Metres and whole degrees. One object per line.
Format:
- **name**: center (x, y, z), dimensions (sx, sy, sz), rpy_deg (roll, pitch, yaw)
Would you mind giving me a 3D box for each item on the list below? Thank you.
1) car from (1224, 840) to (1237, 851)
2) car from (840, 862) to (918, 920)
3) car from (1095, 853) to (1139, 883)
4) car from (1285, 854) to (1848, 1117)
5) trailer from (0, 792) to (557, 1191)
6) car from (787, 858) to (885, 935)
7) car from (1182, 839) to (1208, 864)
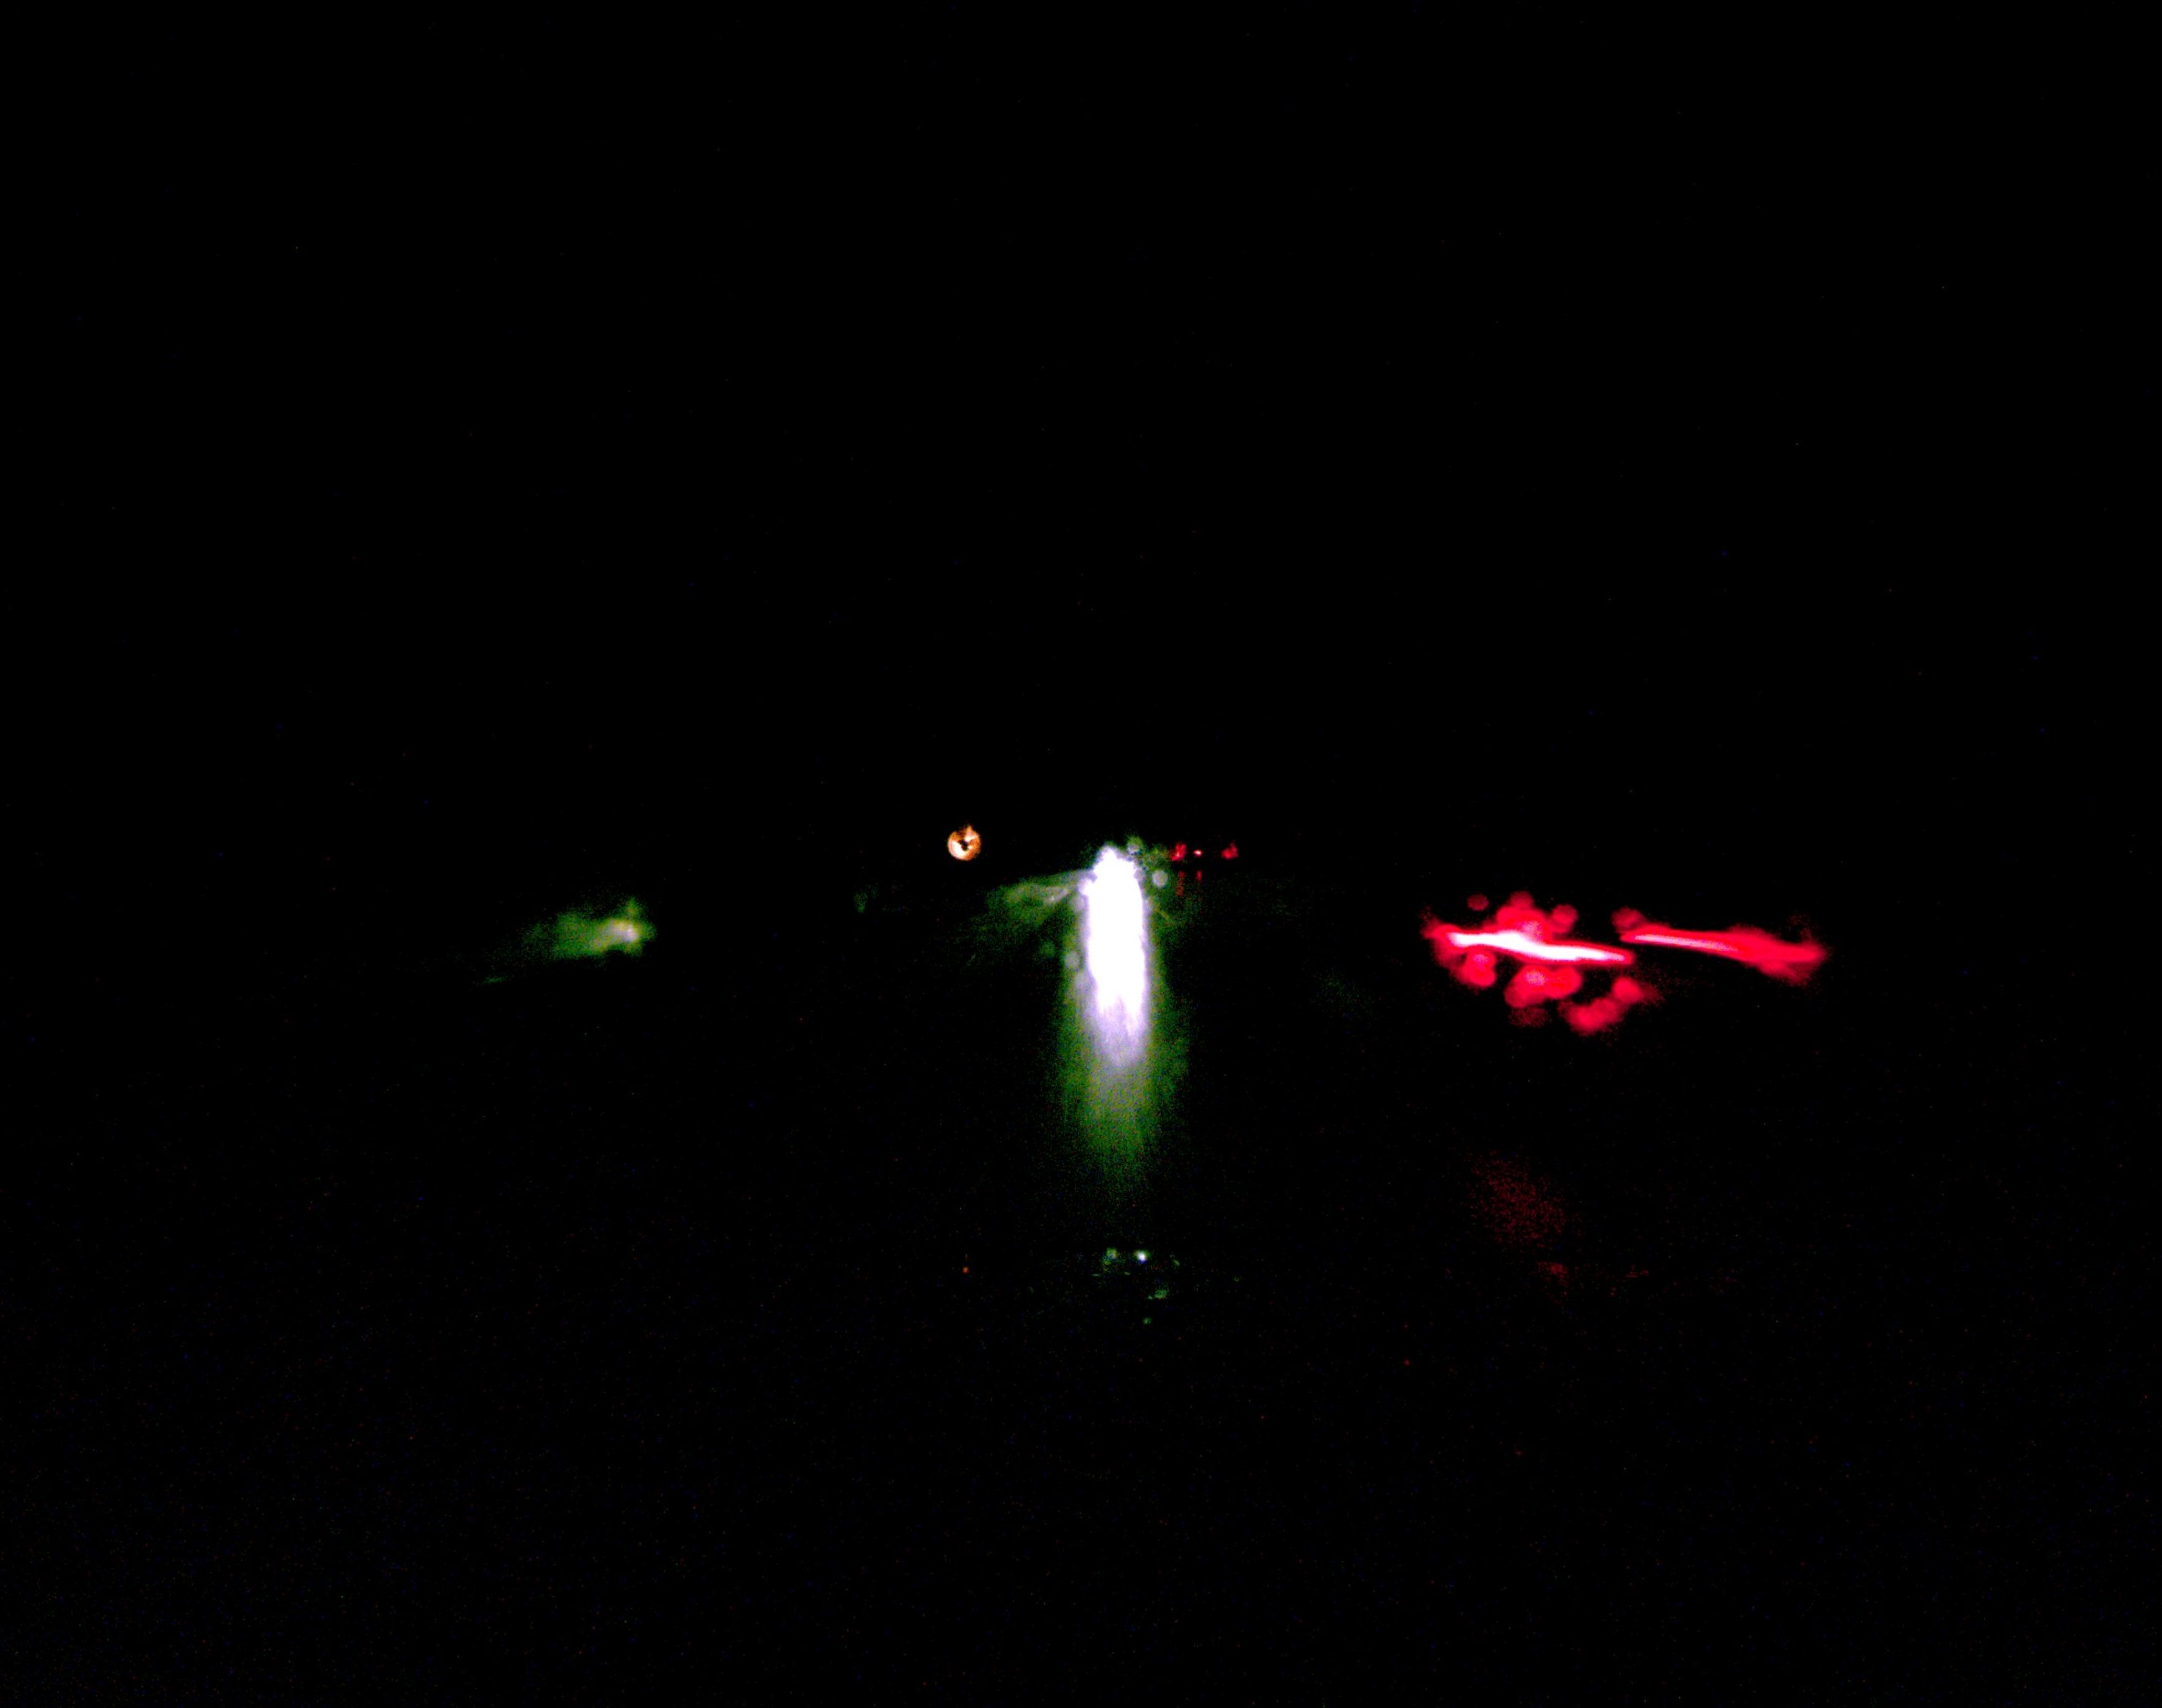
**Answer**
- **car**: center (26.165, -1.489, 133.178), dimensions (1.980, 1.768, 4.003), rpy_deg (-4, 1, 12)
- **car**: center (-7.437, 1.297, 28.437), dimensions (1.883, 1.799, 4.154), rpy_deg (-4, 1, -3)
- **car**: center (2.115, 0.775, 43.868), dimensions (1.997, 1.412, 4.002), rpy_deg (-4, 1, 9)
- **car**: center (3.535, 0.777, 6.937), dimensions (1.998, 1.451, 4.897), rpy_deg (-2, 1, 0)
- **trailer**: center (-7.030, 0.868, 6.676), dimensions (1.609, 2.338, 4.430), rpy_deg (-5, 0, -1)
- **car**: center (-7.602, 1.222, 24.005), dimensions (1.883, 2.028, 4.388), rpy_deg (-4, 1, -5)
- **car**: center (10.287, -0.234, 68.354), dimensions (1.921, 2.045, 4.891), rpy_deg (-4, 1, 12)
